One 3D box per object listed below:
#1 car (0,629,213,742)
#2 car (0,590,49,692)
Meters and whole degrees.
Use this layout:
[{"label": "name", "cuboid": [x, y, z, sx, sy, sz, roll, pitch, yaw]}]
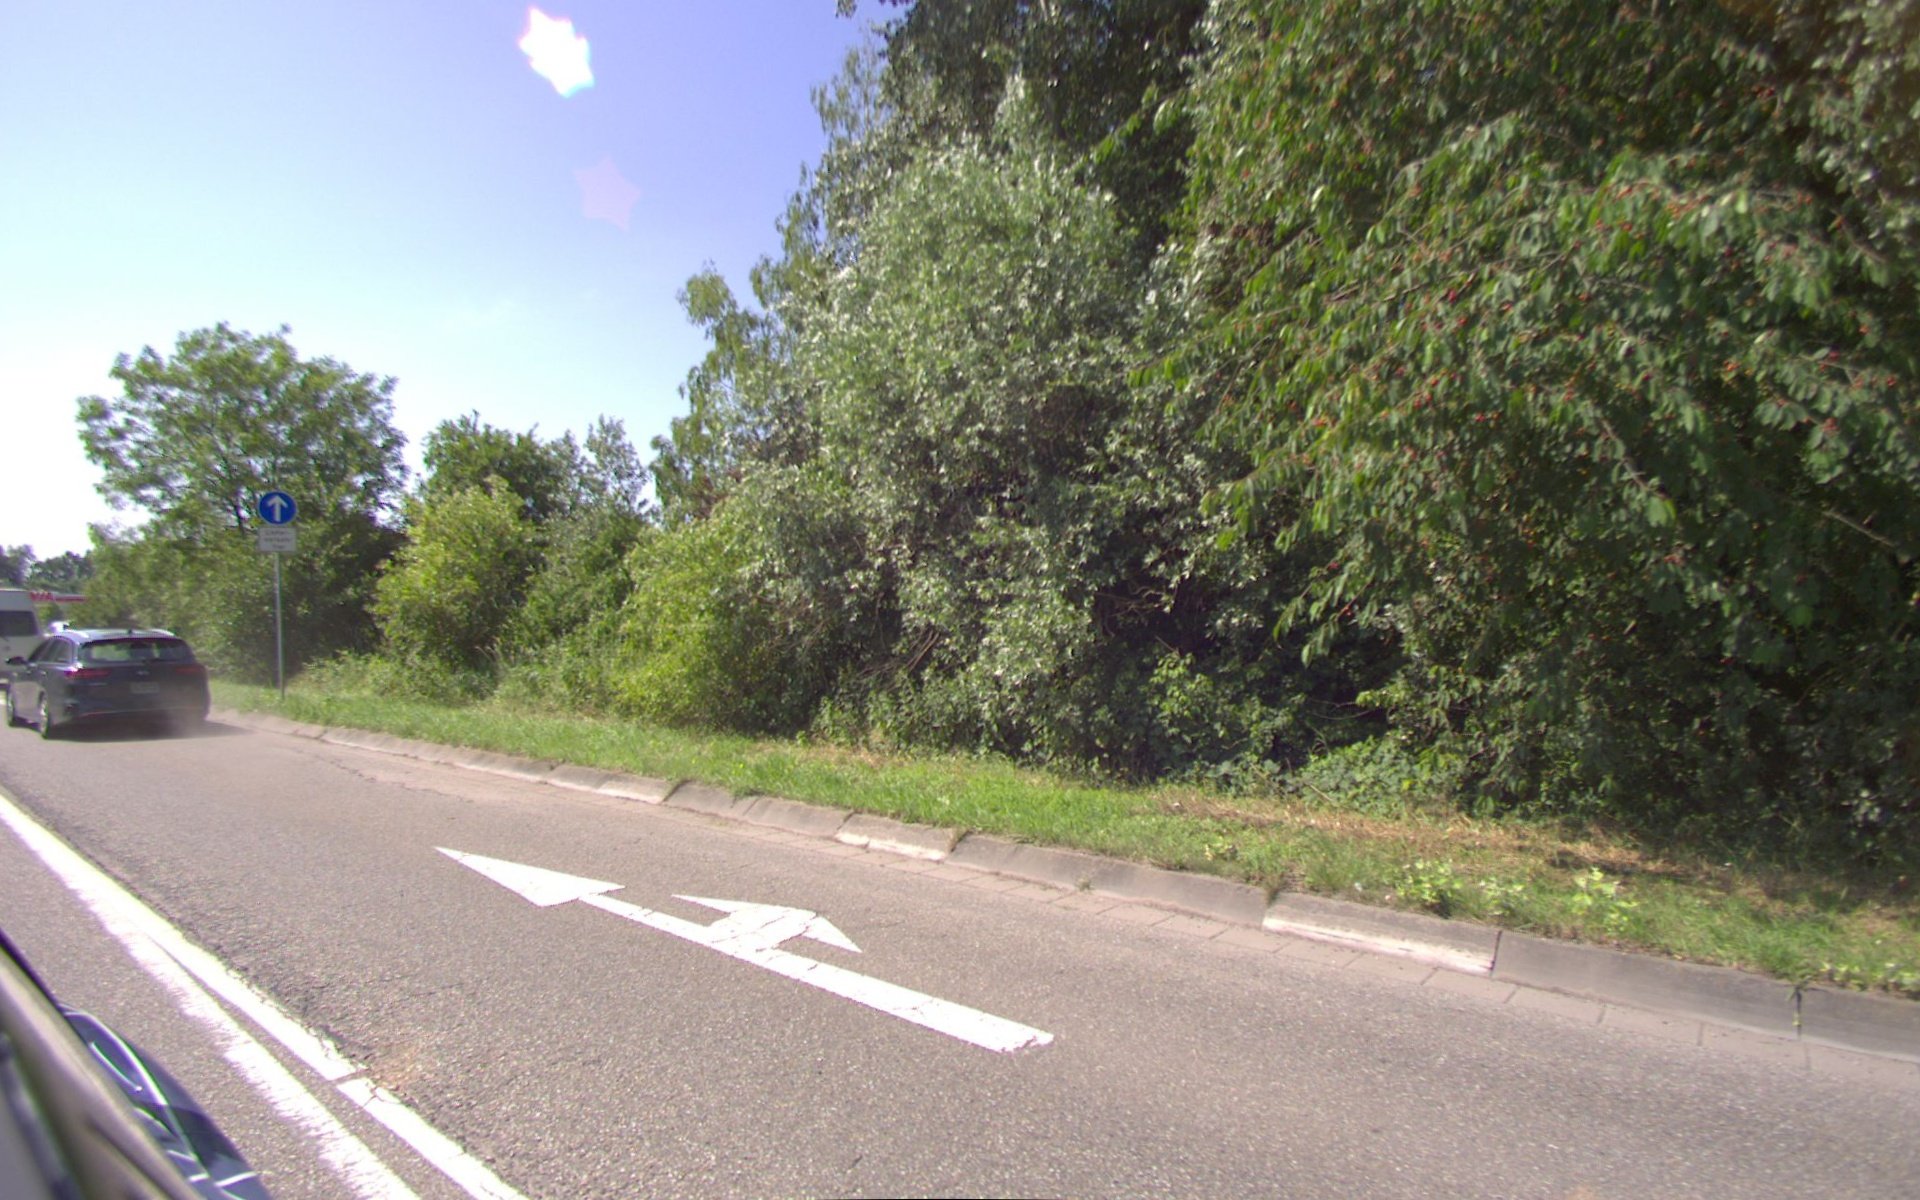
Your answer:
[{"label": "car", "cuboid": [-12.429, 1.137, 14.648, 4.291, 1.400, 1.681, -2, -3, 41]}, {"label": "car", "cuboid": [-24.737, 1.024, 25.559, 4.906, 2.419, 1.892, -2, -3, 40]}]
